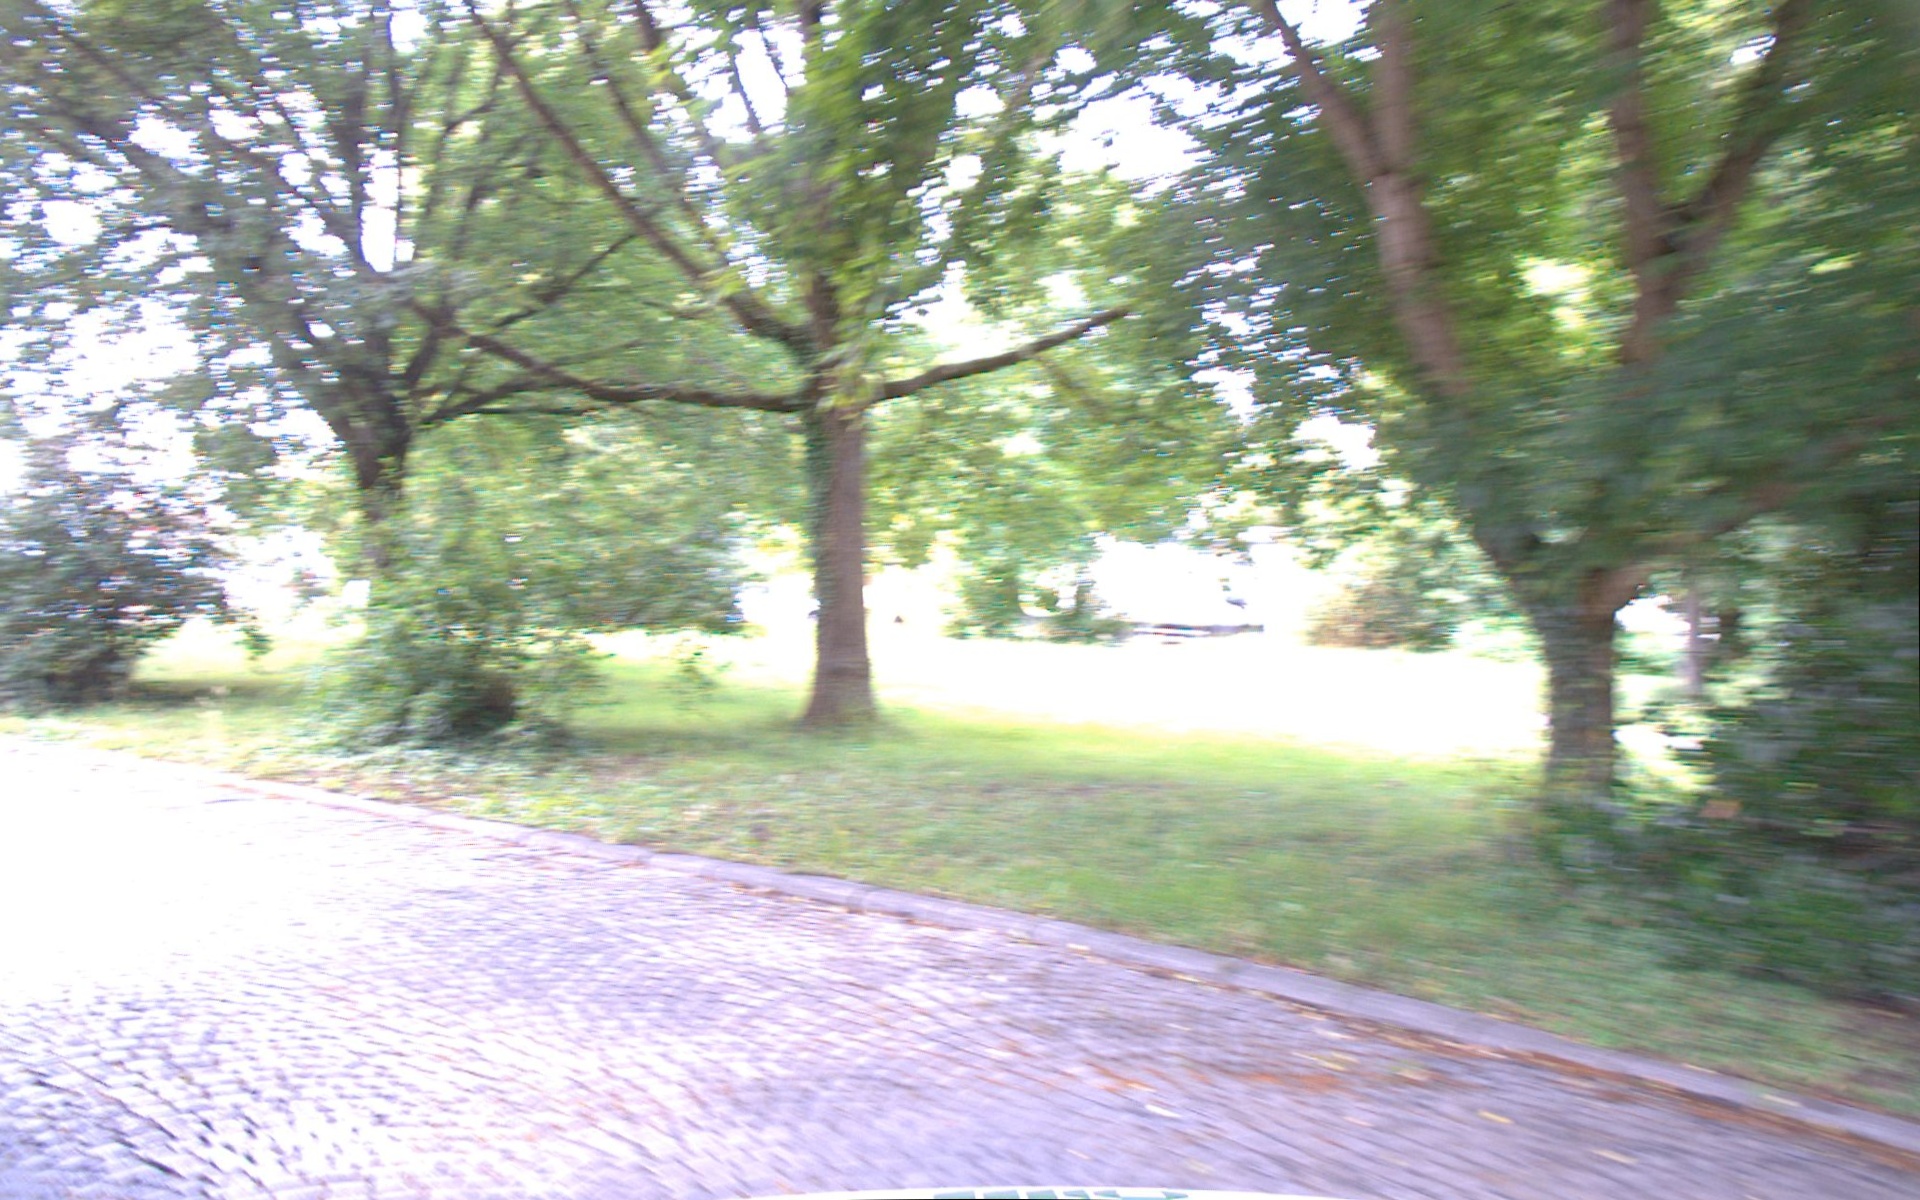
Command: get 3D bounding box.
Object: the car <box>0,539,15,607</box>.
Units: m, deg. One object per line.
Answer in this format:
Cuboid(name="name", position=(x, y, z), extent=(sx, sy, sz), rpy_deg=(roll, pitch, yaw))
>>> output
Cuboid(name="car", position=(-31.099, -0.849, 49.385), extent=(4.550, 2.049, 1.994), rpy_deg=(1, 0, -12))
